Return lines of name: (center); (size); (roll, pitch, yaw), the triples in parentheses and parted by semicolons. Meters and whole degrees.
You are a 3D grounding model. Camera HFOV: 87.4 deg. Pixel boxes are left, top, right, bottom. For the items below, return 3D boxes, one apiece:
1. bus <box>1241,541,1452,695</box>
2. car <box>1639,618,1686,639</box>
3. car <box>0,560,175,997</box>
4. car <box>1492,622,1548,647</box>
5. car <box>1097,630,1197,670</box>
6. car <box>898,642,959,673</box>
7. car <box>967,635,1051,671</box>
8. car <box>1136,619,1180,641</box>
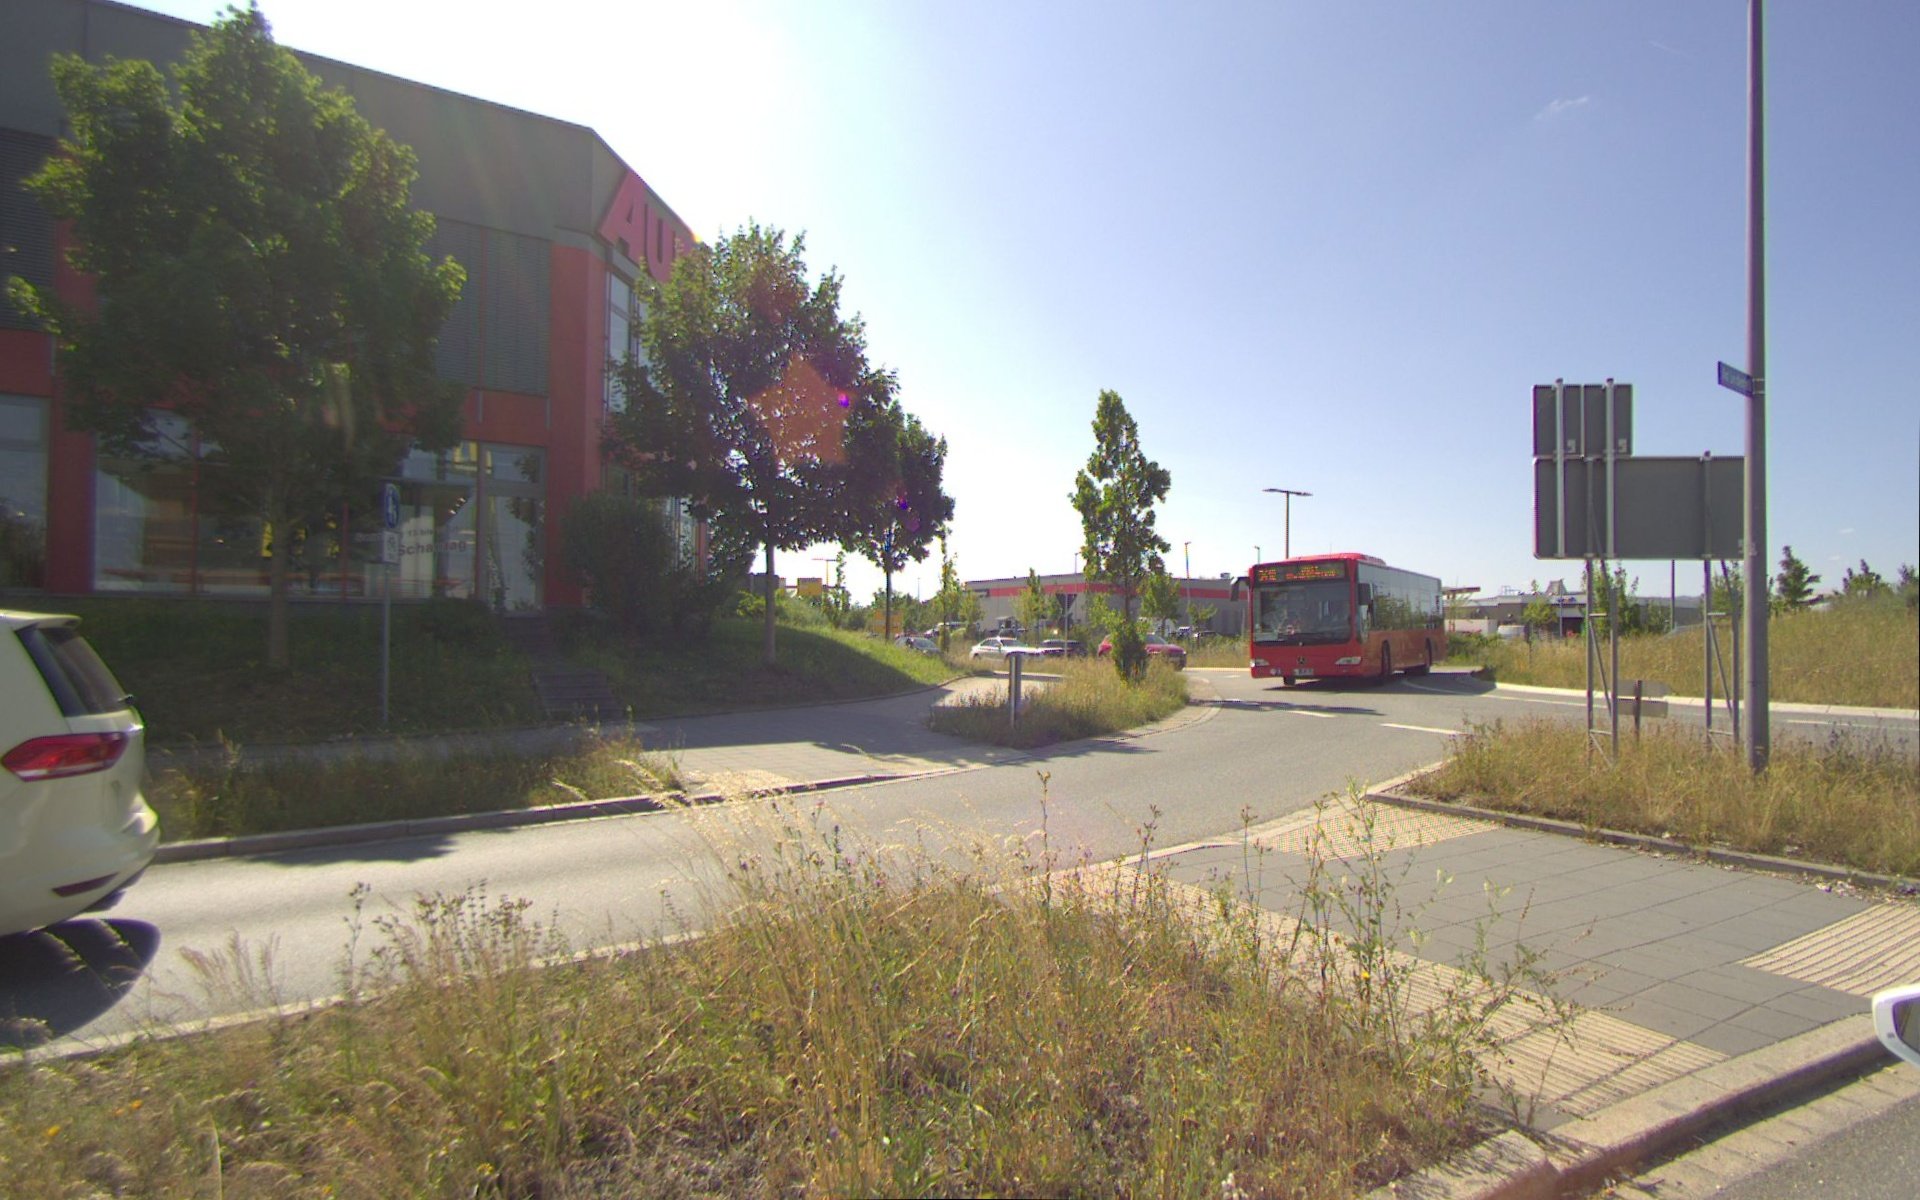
bus: (10.819, 0.516, 27.022); (2.574, 3.284, 11.845); (-2, -2, 34)
car: (60.719, 2.459, 86.770); (3.956, 1.754, 1.983); (2, -2, -32)
car: (-5.651, 0.685, 3.784); (4.117, 1.737, 1.844); (2, -3, -36)
car: (46.161, 2.851, 82.734); (5.082, 2.040, 1.982); (2, -2, -34)
car: (6.937, 1.838, 37.744); (1.782, 1.434, 4.096); (1, -2, -23)
car: (-1.722, 3.061, 53.818); (1.625, 1.507, 3.873); (0, -1, -30)
car: (2.232, 2.501, 47.140); (1.776, 1.434, 4.350); (-6, 0, -29)
car: (19.158, 2.896, 97.286); (3.959, 2.040, 1.981); (1, -2, -35)
